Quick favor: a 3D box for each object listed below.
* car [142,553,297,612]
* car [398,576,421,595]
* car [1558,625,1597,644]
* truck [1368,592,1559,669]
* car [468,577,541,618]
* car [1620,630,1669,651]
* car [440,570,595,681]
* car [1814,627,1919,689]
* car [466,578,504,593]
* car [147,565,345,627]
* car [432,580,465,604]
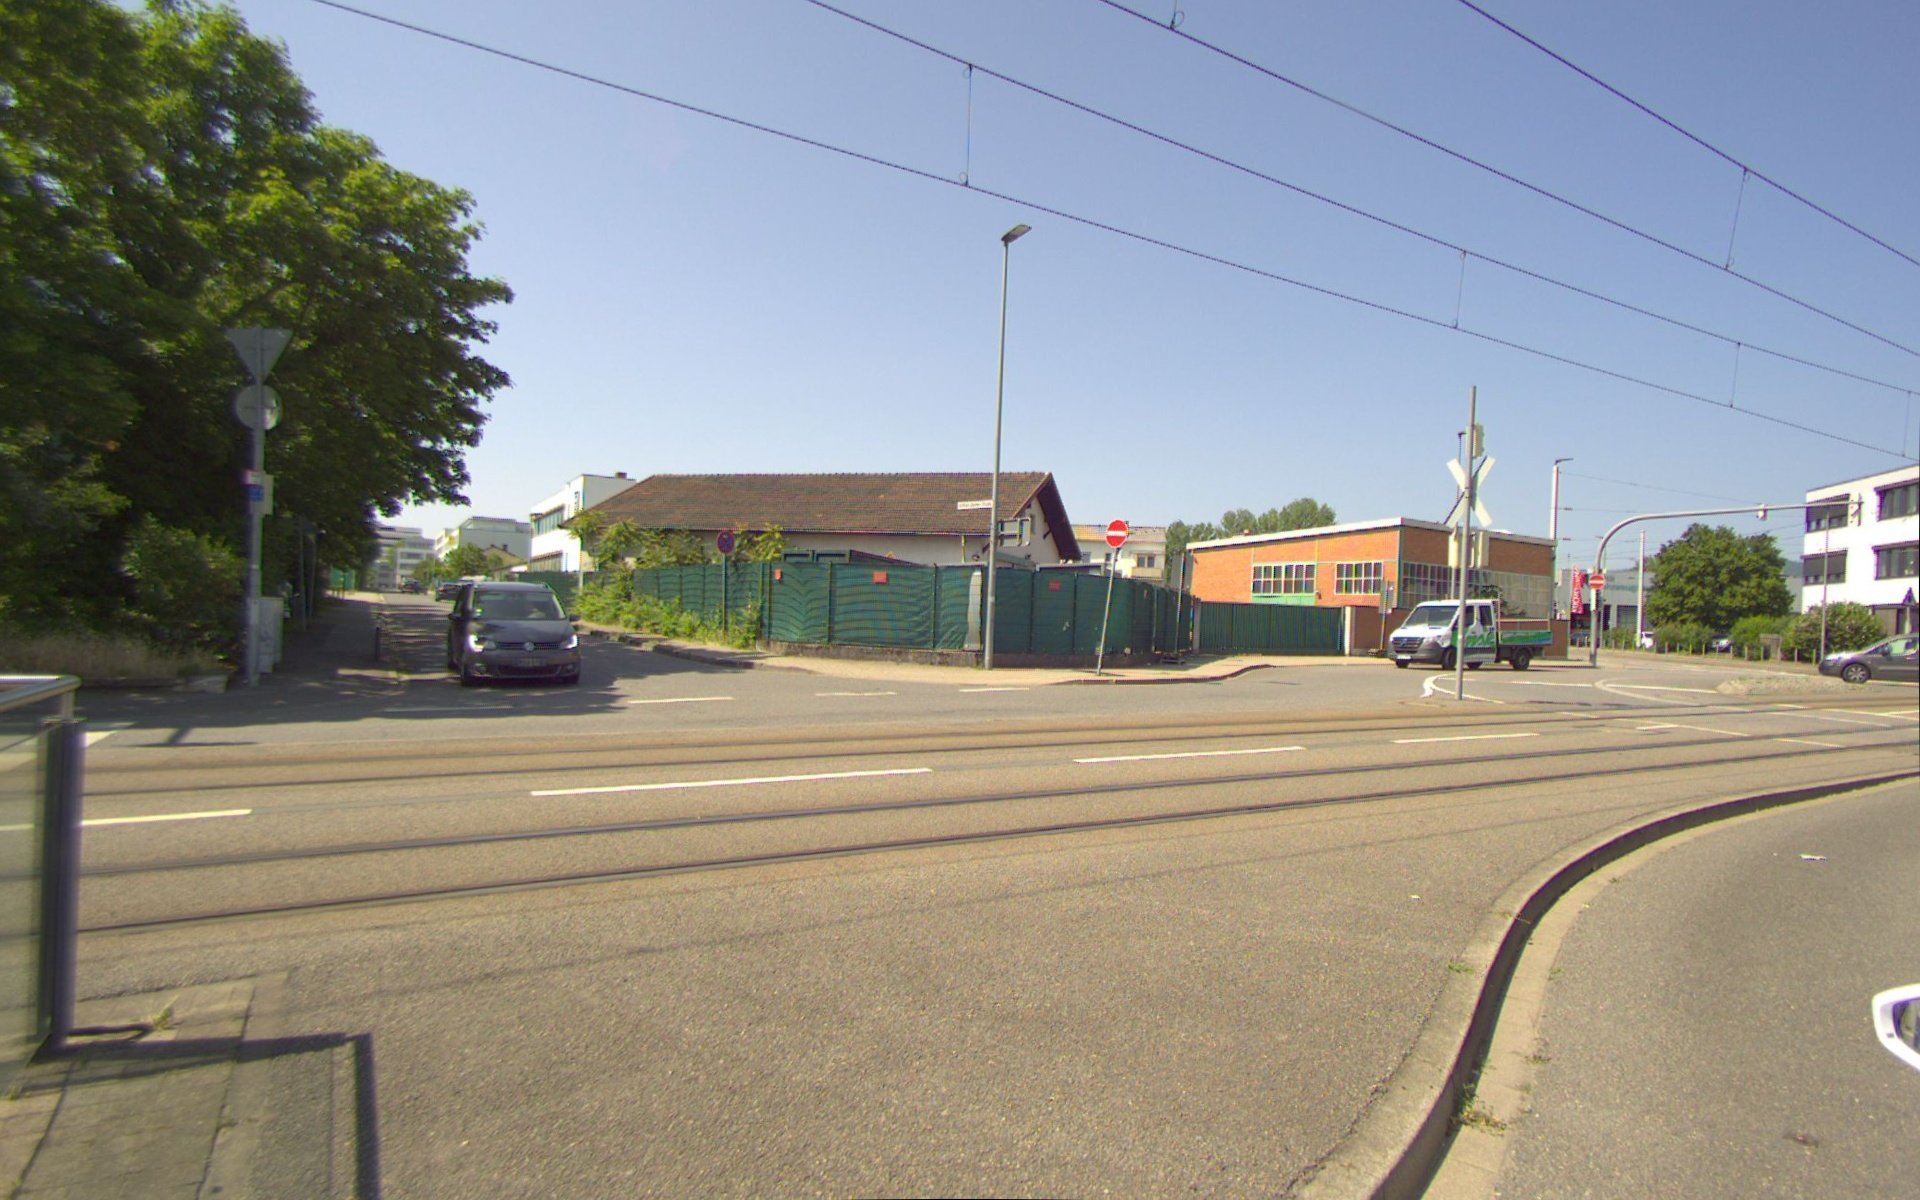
[{"bbox_3d":[-23.309,-0.512,31.763,3.831,1.659,1.609,2,0,-37],"label":"car"},{"bbox_3d":[-61.270,-1.620,111.846,1.889,2.040,3.975,2,0,-24],"label":"car"},{"bbox_3d":[59.580,3.361,96.927,1.959,1.806,4.003,1,-2,12],"label":"car"},{"bbox_3d":[16.839,1.044,33.537,6.301,2.368,2.196,2,0,-24],"label":"truck"},{"bbox_3d":[-18.486,-0.114,40.673,1.790,1.557,4.118,2,-1,-37],"label":"car"},{"bbox_3d":[56.108,3.338,82.430,1.959,1.683,4.003,1,-2,11],"label":"car"},{"bbox_3d":[-7.648,0.357,17.135,1.911,1.604,4.156,2,1,-31],"label":"car"},{"bbox_3d":[30.573,1.895,32.581,4.344,1.842,1.980,2,0,42],"label":"car"},{"bbox_3d":[-48.746,-1.480,103.007,3.392,1.446,1.340,2,0,-31],"label":"car"},{"bbox_3d":[-18.437,-0.064,26.087,1.599,1.486,3.854,2,0,35],"label":"car"},{"bbox_3d":[-38.105,-0.599,74.834,1.787,1.623,3.964,2,0,-32],"label":"car"}]
